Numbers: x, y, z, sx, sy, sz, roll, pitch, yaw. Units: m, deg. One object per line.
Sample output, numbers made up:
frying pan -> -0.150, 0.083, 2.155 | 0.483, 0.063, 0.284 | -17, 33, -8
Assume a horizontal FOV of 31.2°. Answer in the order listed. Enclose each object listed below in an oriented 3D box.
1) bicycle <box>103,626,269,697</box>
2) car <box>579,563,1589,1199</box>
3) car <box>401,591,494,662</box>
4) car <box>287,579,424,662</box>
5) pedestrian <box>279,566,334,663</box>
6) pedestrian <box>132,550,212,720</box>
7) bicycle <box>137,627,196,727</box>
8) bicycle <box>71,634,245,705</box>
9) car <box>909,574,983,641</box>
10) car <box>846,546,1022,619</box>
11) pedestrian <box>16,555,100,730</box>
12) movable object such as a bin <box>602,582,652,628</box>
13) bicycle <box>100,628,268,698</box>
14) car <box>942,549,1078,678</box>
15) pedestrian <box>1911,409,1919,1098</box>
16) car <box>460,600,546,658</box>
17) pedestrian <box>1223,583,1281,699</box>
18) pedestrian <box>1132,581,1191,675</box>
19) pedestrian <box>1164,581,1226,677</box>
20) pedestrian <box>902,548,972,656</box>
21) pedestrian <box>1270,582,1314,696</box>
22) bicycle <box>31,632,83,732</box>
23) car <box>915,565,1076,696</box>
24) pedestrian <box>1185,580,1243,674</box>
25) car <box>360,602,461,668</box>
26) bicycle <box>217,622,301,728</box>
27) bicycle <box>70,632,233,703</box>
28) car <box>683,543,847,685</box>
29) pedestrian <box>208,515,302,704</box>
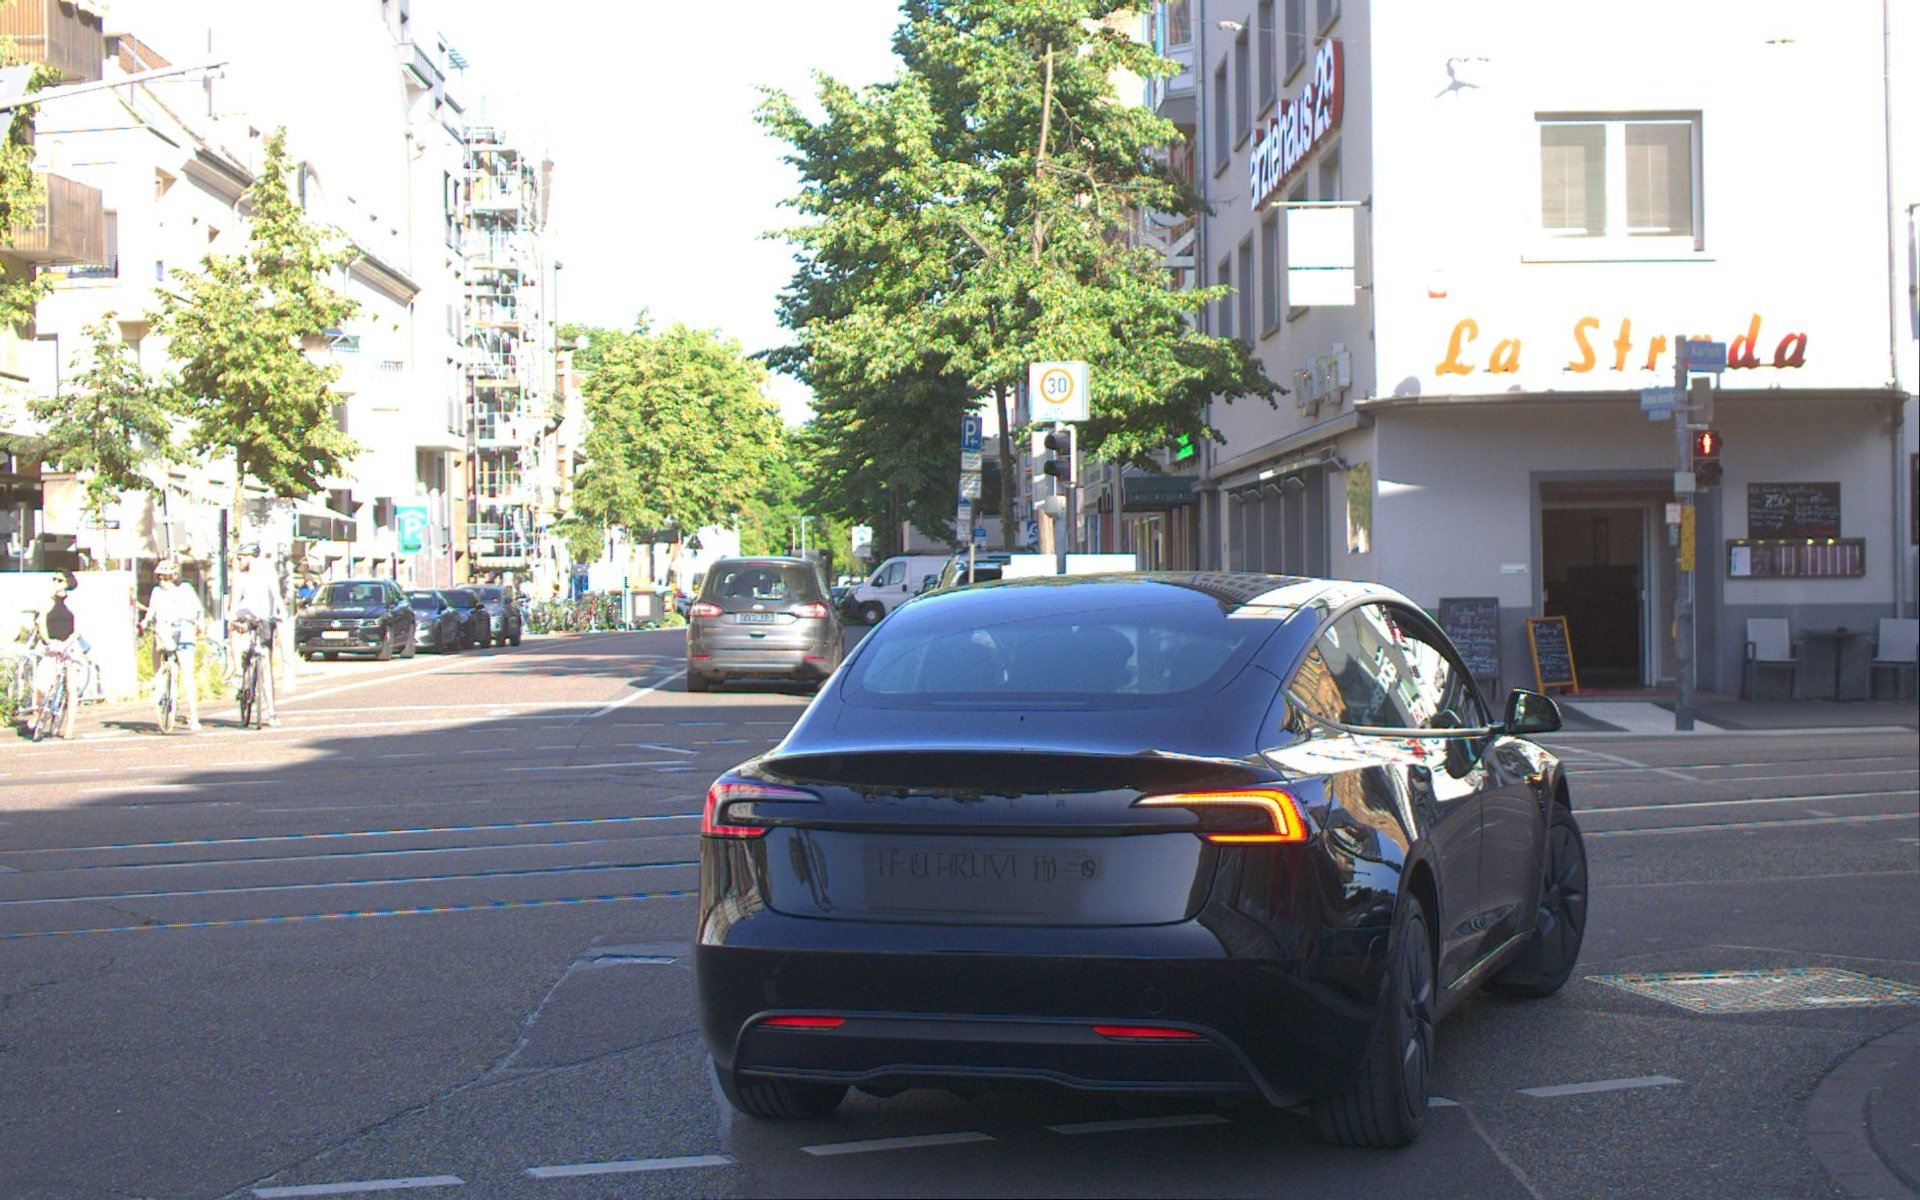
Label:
bicycle -> -11.559, 0.912, 51.415 | 2.396, 1.002, 0.656 | -1, 0, -11
car -> 0.628, 0.630, 9.980 | 1.871, 1.422, 4.361 | 0, 1, 17
car -> -12.063, 0.611, 81.128 | 1.718, 1.604, 3.597 | -1, 0, -2
car -> -11.973, 0.388, 68.316 | 1.993, 1.592, 4.000 | 0, 0, 1
pedestrian -> -13.972, 0.311, 73.511 | 0.951, 2.007, 1.090 | -4, 1, -14
pedestrian -> -8.070, 0.350, 35.188 | 0.778, 1.722, 0.559 | 0, 0, -15
bicycle -> -8.065, 0.767, 34.990 | 0.552, 0.965, 1.795 | -1, 0, -12
bicycle -> -11.482, 0.992, 49.253 | 2.396, 0.955, 0.545 | -1, 0, -13
car -> -0.395, 0.191, 95.287 | 1.993, 1.818, 4.000 | 0, 0, 0
car -> -0.845, -0.538, 106.970 | 5.391, 2.138, 2.000 | -1, 0, -2
pedestrian -> -8.915, 0.413, 33.968 | 0.790, 1.706, 0.654 | 0, 0, -16
movable object such as a bin -> -10.326, 0.158, 106.607 | 1.308, 1.403, 1.071 | -1, 0, -18
bicycle -> -11.406, 0.917, 50.583 | 2.388, 0.974, 0.656 | -1, 0, -11
car -> 0.716, 0.175, 51.679 | 1.904, 1.846, 4.288 | 0, 0, -1
pedestrian -> 2.877, 0.410, 8.847 | 0.640, 1.836, 0.681 | -1, 0, -1
car -> -11.402, 0.714, 85.985 | 1.786, 1.398, 3.906 | 0, 0, -3
pedestrian -> 3.363, 0.467, 39.597 | 0.586, 1.308, 0.560 | -1, 0, -1
pedestrian -> 2.934, 0.403, 50.200 | 0.709, 1.343, 1.060 | -1, 0, -4
pedestrian -> 3.356, 0.406, 49.095 | 0.730, 1.343, 1.060 | -1, 0, -3
pedestrian -> -0.410, 0.033, 61.708 | 0.958, 1.909, 1.104 | -1, 0, 15
pedestrian -> 3.902, 0.456, 40.381 | 0.488, 1.318, 0.653 | -1, 0, 7
bicycle -> -9.012, 0.807, 34.305 | 0.480, 0.952, 1.456 | -1, 0, -15
car -> 0.419, 0.372, 45.329 | 2.001, 1.631, 4.288 | 0, 0, -1
pedestrian -> 3.714, 0.388, 50.367 | 0.730, 1.356, 0.959 | -1, 0, -1
car -> -12.150, 0.756, 76.173 | 1.786, 1.398, 3.906 | 0, 0, -3
bicycle -> -7.172, 0.751, 35.128 | 0.758, 1.004, 1.726 | -4, 1, -12
bicycle -> -11.407, 0.949, 48.532 | 2.219, 0.955, 0.656 | -1, 0, -13
car -> -2.449, 0.159, 44.074 | 1.904, 1.727, 4.288 | 0, 0, -1
pedestrian -> -7.205, 0.094, 35.119 | 0.778, 1.860, 1.002 | -3, 1, -15
